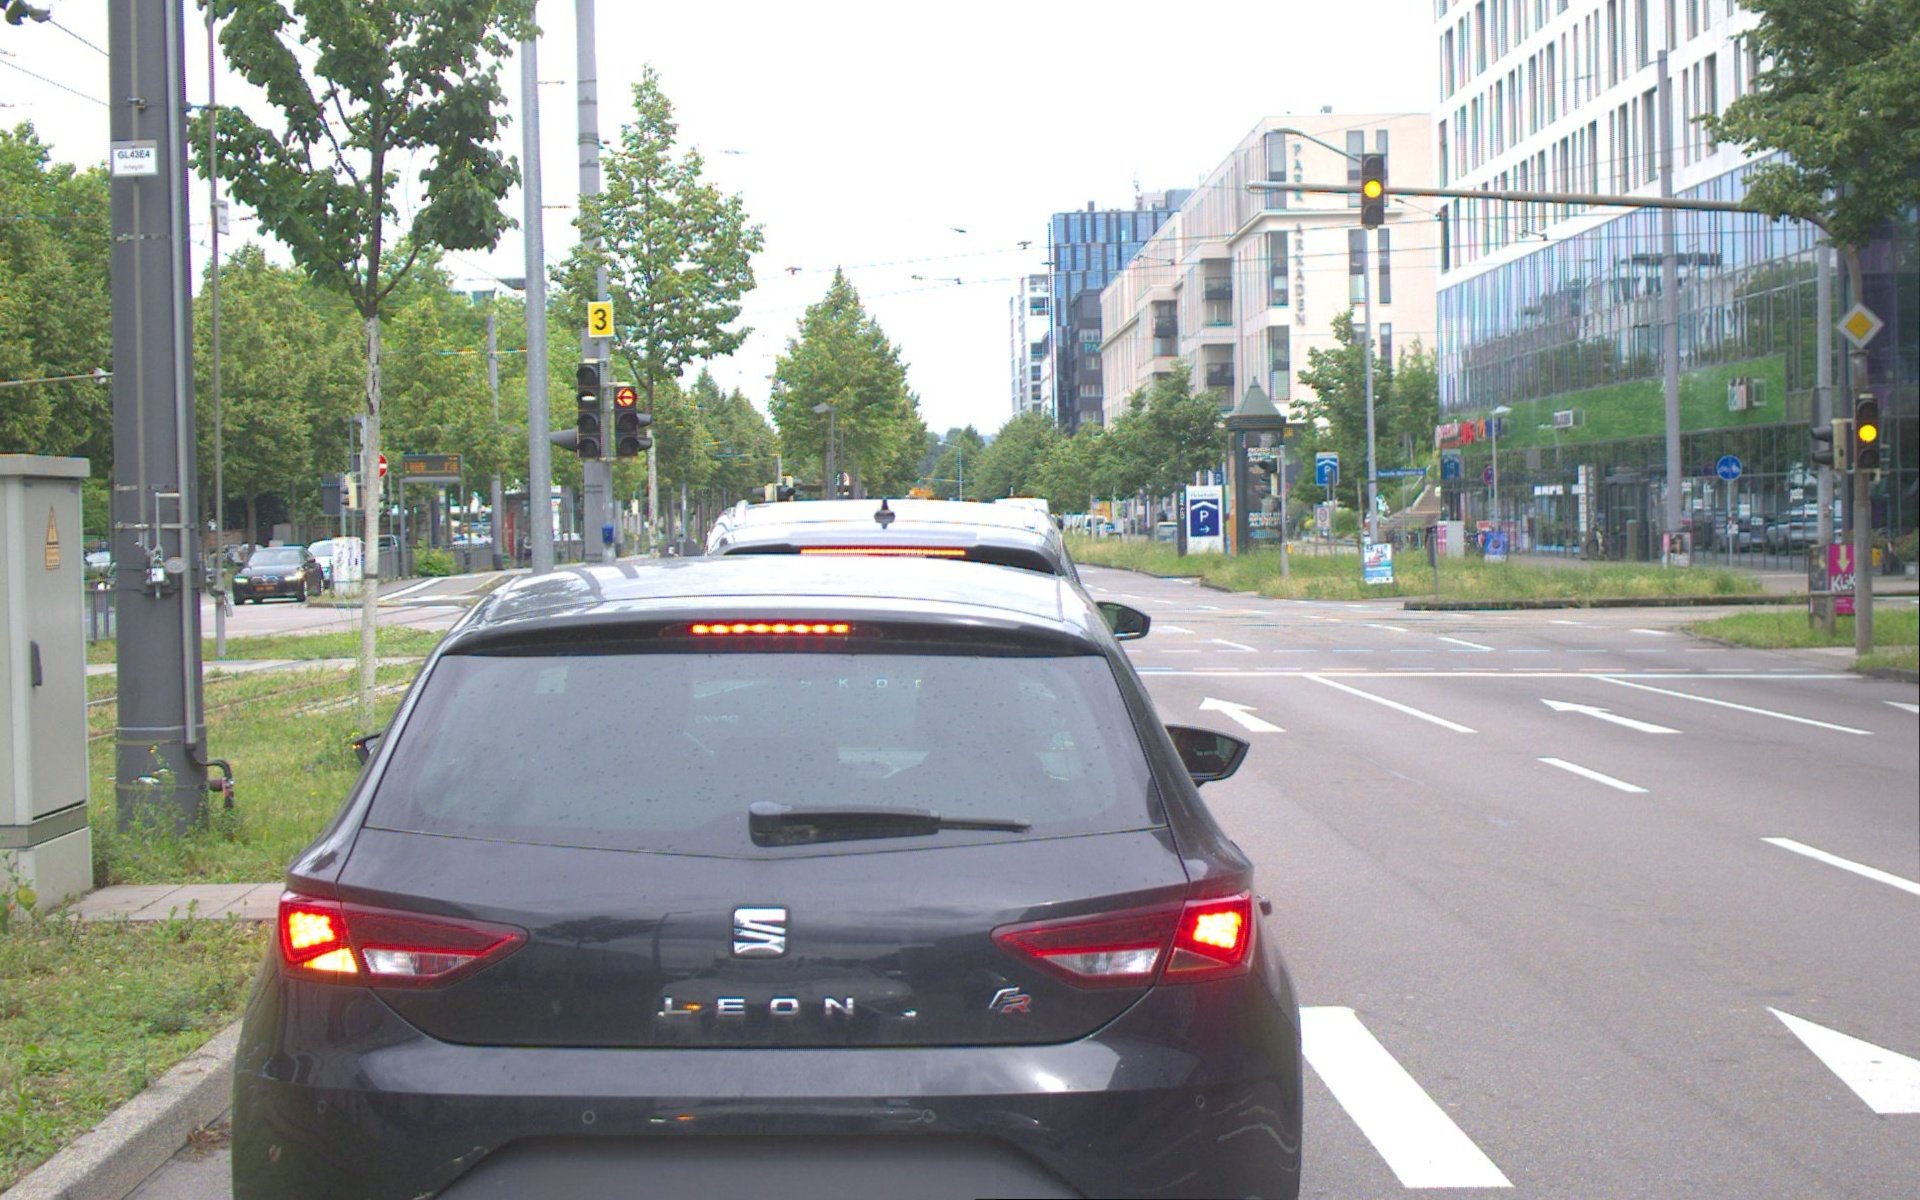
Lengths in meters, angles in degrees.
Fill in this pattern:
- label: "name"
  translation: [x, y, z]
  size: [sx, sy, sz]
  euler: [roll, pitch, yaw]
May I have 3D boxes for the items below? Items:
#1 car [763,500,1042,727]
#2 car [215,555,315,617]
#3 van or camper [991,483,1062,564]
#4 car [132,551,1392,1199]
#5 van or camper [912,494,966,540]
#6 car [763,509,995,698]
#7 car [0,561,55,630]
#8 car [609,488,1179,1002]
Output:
- label: "car"
  translation: [-0.382, 0.042, 27.529]
  size: [1.994, 1.676, 4.000]
  euler: [0, 2, 2]
- label: "car"
  translation: [-17.990, -0.377, 89.124]
  size: [1.663, 1.422, 4.746]
  euler: [-2, 2, -1]
- label: "van or camper"
  translation: [2.037, -2.408, 107.172]
  size: [2.109, 2.348, 4.924]
  euler: [0, 3, 0]
- label: "car"
  translation: [-0.324, 0.641, 6.779]
  size: [1.743, 1.412, 4.001]
  euler: [0, 2, -1]
- label: "van or camper"
  translation: [-0.767, -3.158, 130.005]
  size: [1.993, 1.609, 4.789]
  euler: [0, 3, 0]
- label: "car"
  translation: [-0.707, -0.021, 32.761]
  size: [1.993, 1.676, 4.000]
  euler: [0, 2, 2]
- label: "car"
  translation: [-23.884, -0.120, 84.991]
  size: [1.796, 1.565, 4.328]
  euler: [-1, 2, 1]
- label: "car"
  translation: [-0.234, 0.415, 13.040]
  size: [1.802, 1.619, 4.000]
  euler: [-1, 1, -1]
